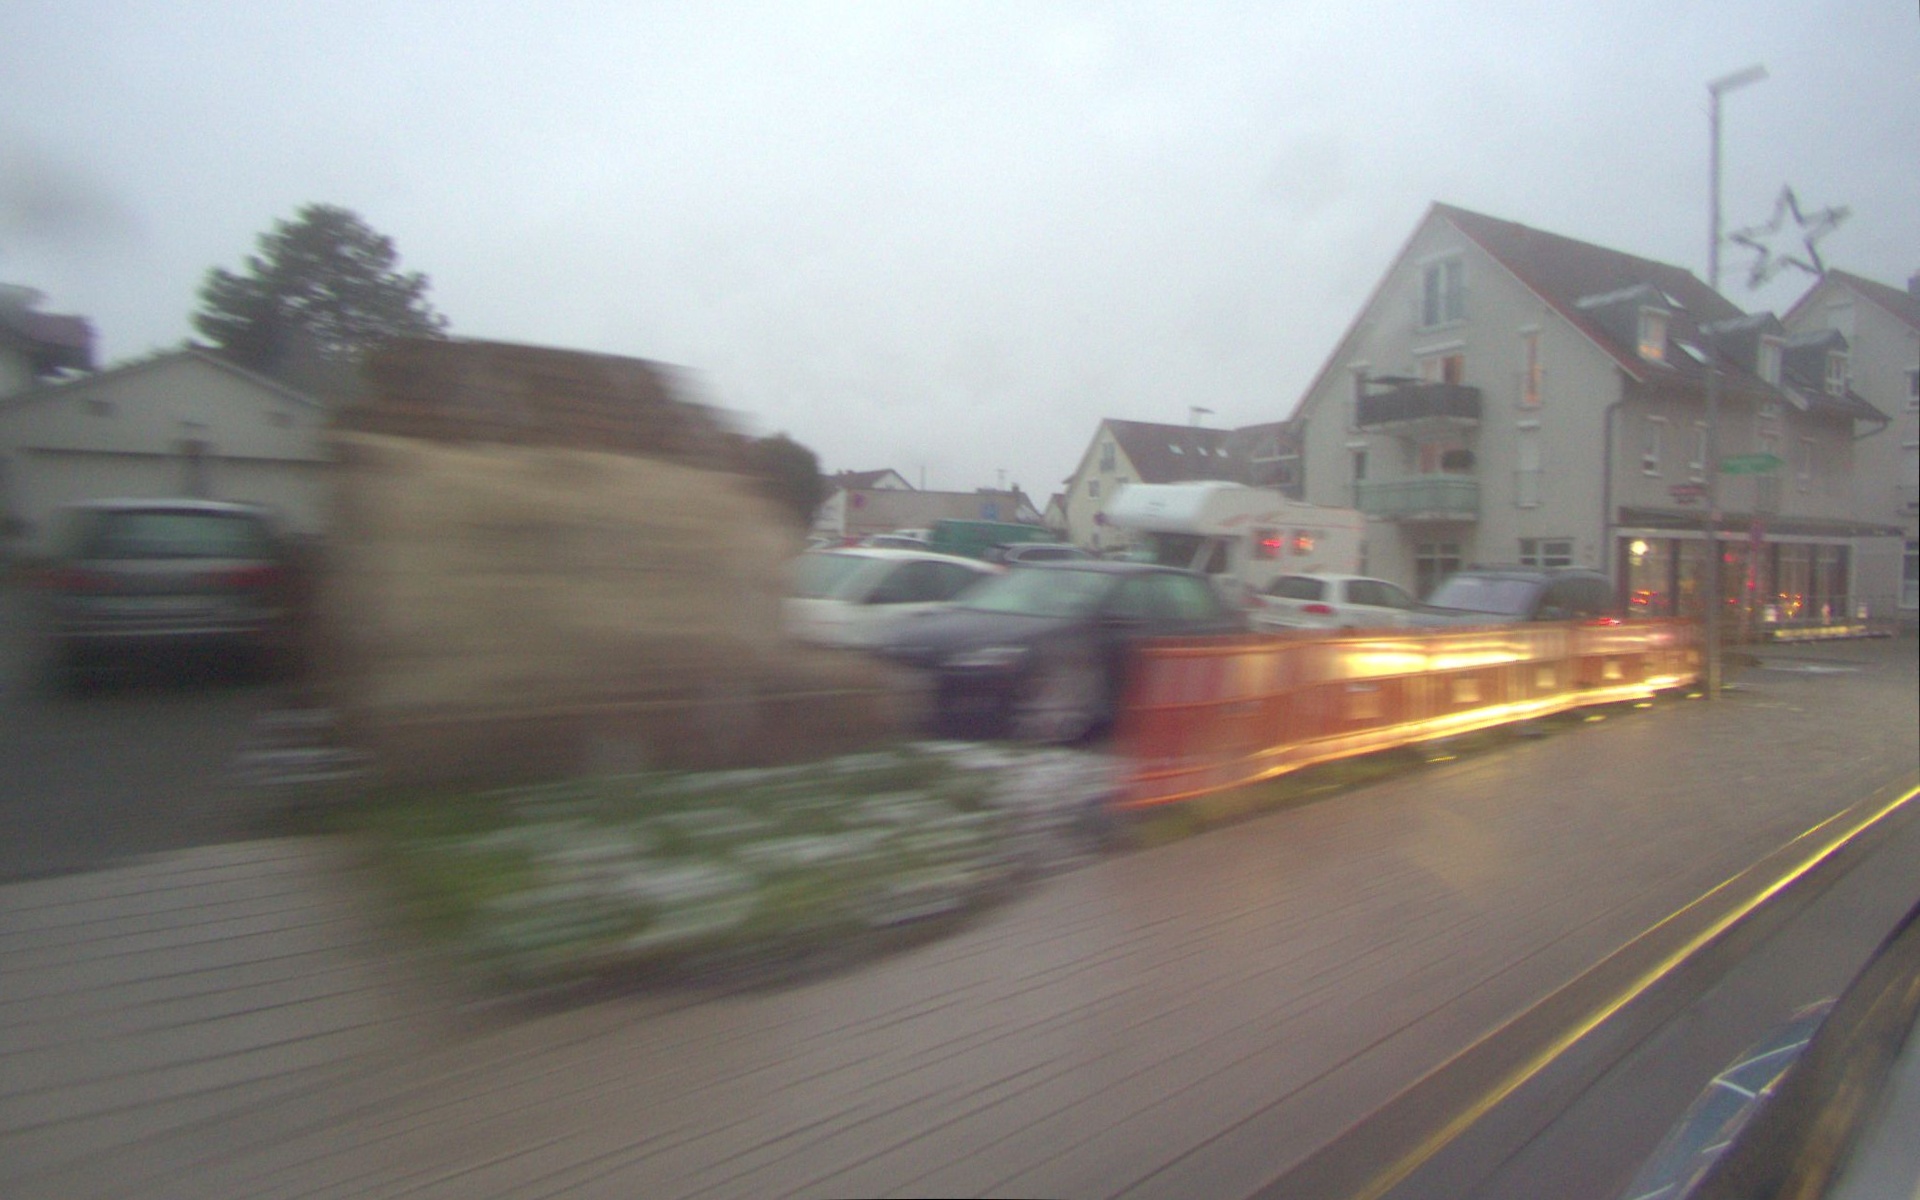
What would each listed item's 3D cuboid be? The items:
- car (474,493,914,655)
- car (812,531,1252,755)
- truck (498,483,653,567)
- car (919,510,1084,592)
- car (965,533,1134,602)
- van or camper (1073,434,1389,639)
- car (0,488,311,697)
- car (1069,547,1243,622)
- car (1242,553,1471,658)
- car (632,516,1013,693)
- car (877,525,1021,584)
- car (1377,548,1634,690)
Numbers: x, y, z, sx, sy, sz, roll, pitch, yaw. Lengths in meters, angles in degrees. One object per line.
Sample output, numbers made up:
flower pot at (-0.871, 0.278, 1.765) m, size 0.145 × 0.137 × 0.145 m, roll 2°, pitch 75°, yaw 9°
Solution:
car at (-3.053, -0.248, 12.340) m, size 4.837 × 1.612 × 1.785 m, roll 2°, pitch 2°, yaw -40°
car at (0.779, 0.284, 8.638) m, size 1.781 × 1.424 × 3.696 m, roll 6°, pitch 3°, yaw 42°
truck at (-11.471, -2.233, 30.235) m, size 4.153 × 2.210 × 1.792 m, roll 2°, pitch 4°, yaw -24°
car at (1.154, -1.361, 28.247) m, size 4.156 × 1.996 × 1.791 m, roll 2°, pitch 4°, yaw -27°
car at (2.310, -0.828, 26.101) m, size 3.918 × 1.528 × 1.804 m, roll 2°, pitch 4°, yaw -27°
van or camper at (5.727, -1.190, 20.690) m, size 6.995 × 3.551 × 2.439 m, roll 0°, pitch 4°, yaw -39°
car at (-7.312, -0.205, 9.601) m, size 1.657 × 1.573 × 3.689 m, roll 0°, pitch 5°, yaw -28°
car at (4.655, -0.353, 23.853) m, size 3.926 × 1.528 × 1.801 m, roll 1°, pitch 5°, yaw -37°
car at (7.081, 0.068, 17.917) m, size 4.165 × 1.560 × 1.787 m, roll 1°, pitch 5°, yaw -37°
car at (-1.272, 0.033, 10.431) m, size 1.662 × 1.452 × 3.625 m, roll 6°, pitch 3°, yaw 42°
car at (-0.333, -1.369, 30.709) m, size 3.918 × 1.528 × 1.804 m, roll 2°, pitch 4°, yaw -27°
car at (8.273, 0.225, 15.227) m, size 4.165 × 1.844 × 1.786 m, roll 1°, pitch 2°, yaw -37°
